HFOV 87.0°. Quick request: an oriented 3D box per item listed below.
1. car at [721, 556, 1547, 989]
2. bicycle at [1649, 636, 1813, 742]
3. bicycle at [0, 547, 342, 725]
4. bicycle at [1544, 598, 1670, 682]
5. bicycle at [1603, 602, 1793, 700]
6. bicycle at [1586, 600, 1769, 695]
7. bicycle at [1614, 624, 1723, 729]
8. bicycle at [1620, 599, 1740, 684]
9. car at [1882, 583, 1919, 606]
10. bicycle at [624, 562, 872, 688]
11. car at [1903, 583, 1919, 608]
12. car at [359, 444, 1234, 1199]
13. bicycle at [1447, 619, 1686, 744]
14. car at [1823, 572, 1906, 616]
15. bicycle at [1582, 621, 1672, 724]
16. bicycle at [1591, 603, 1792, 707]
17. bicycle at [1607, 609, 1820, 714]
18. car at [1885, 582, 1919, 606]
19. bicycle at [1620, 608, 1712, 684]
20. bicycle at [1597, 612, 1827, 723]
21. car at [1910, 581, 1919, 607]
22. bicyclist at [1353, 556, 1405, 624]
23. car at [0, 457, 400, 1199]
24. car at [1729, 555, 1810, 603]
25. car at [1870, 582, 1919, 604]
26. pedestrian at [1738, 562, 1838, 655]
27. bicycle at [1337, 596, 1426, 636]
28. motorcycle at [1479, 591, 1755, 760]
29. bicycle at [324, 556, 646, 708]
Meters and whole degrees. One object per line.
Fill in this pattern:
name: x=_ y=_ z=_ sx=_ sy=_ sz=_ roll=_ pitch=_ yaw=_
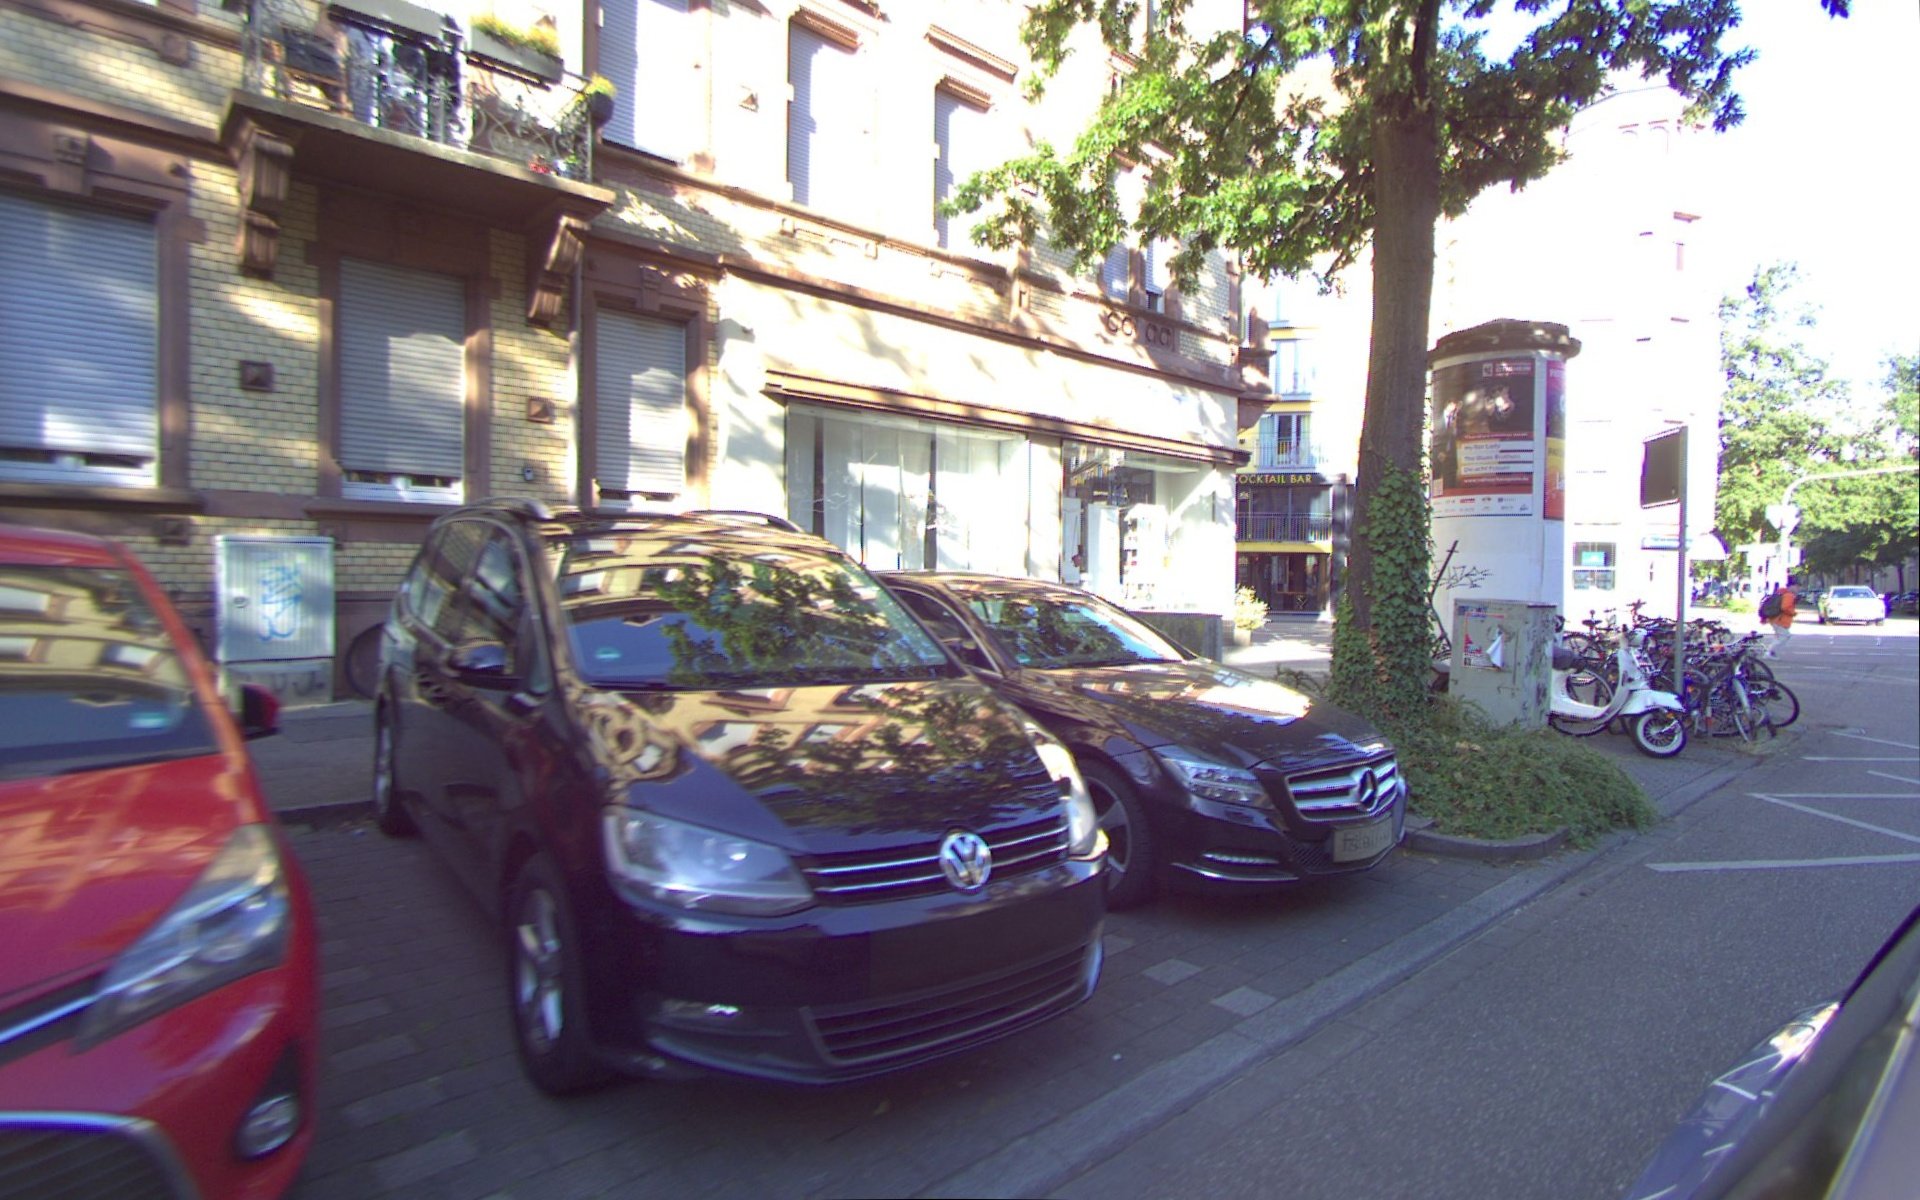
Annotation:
car: x=0.498 y=0.518 z=5.994 sx=1.818 sy=1.430 sz=4.798 roll=-1 pitch=4 yaw=-39
bicycle: x=7.278 y=0.839 z=9.558 sx=1.383 sy=0.938 sz=0.355 roll=1 pitch=3 yaw=-12
bicycle: x=-6.123 y=0.223 z=7.516 sx=2.546 sy=1.185 sz=0.672 roll=-1 pitch=4 yaw=-40
bicycle: x=9.181 y=0.560 z=14.377 sx=1.447 sy=1.106 sz=0.575 roll=1 pitch=3 yaw=-10
bicycle: x=9.372 y=0.636 z=12.902 sx=1.905 sy=1.106 sz=0.424 roll=3 pitch=3 yaw=9
bicycle: x=9.455 y=0.613 z=13.383 sx=1.905 sy=1.106 sz=0.424 roll=3 pitch=3 yaw=9
bicycle: x=7.190 y=0.749 z=10.252 sx=1.496 sy=0.938 sz=0.355 roll=0 pitch=4 yaw=-35
bicycle: x=9.956 y=0.574 z=14.004 sx=1.446 sy=1.106 sz=0.426 roll=1 pitch=3 yaw=-12
car: x=69.450 y=-0.378 z=72.782 sx=4.268 sy=1.604 sz=1.979 roll=1 pitch=2 yaw=30
bicycle: x=-2.188 y=0.216 z=10.752 sx=2.546 sy=1.185 sz=0.672 roll=-1 pitch=4 yaw=-40
car: x=64.606 y=-0.272 z=65.909 sx=4.265 sy=1.604 sz=1.981 roll=1 pitch=2 yaw=28
car: x=-1.311 y=0.408 z=4.423 sx=1.817 sy=1.699 sz=4.703 roll=0 pitch=3 yaw=-36
bicycle: x=5.840 y=0.745 z=9.861 sx=0.348 sy=0.938 sz=1.934 roll=-1 pitch=5 yaw=-42
car: x=38.183 y=-0.298 z=42.839 sx=1.986 sy=1.771 sz=3.953 roll=1 pitch=2 yaw=33
bicycle: x=7.021 y=0.733 z=10.633 sx=1.498 sy=0.938 sz=0.354 roll=-1 pitch=4 yaw=-41
bicycle: x=8.892 y=0.654 z=12.357 sx=1.906 sy=1.106 sz=0.424 roll=3 pitch=3 yaw=12
bicycle: x=8.797 y=0.701 z=11.880 sx=1.906 sy=1.064 sz=0.501 roll=3 pitch=3 yaw=12
car: x=65.488 y=-0.382 z=68.168 sx=4.265 sy=1.604 sz=1.981 roll=1 pitch=2 yaw=28
bicycle: x=10.329 y=0.653 z=14.847 sx=0.989 sy=1.039 sz=0.732 roll=1 pitch=1 yaw=26
bicycle: x=8.221 y=0.708 z=11.166 sx=1.918 sy=0.999 sz=0.492 roll=4 pitch=4 yaw=27
car: x=63.122 y=-0.342 z=63.825 sx=4.265 sy=1.604 sz=1.981 roll=1 pitch=2 yaw=28
bicyclist: x=9.800 y=-0.221 z=23.690 sx=1.067 sy=1.573 sz=0.630 roll=-1 pitch=-1 yaw=19
car: x=-3.022 y=0.512 z=2.874 sx=1.695 sy=1.553 sz=4.113 roll=-1 pitch=2 yaw=-41
car: x=58.325 y=-1.536 z=73.111 sx=3.298 sy=3.218 sz=7.998 roll=1 pitch=2 yaw=30
car: x=71.109 y=-0.516 z=75.577 sx=4.268 sy=1.604 sz=1.979 roll=1 pitch=2 yaw=30
pedestrian: x=15.823 y=0.142 z=19.375 sx=1.158 sy=1.701 sz=1.002 roll=1 pitch=1 yaw=19
bicycle: x=9.830 y=0.372 z=23.671 sx=1.854 sy=0.924 sz=0.630 roll=-1 pitch=-1 yaw=19
motorcycle: x=5.798 y=0.598 z=9.035 sx=0.674 sy=1.249 sz=1.902 roll=0 pitch=4 yaw=-41
bicycle: x=-4.204 y=0.233 z=9.145 sx=2.546 sy=1.185 sz=0.672 roll=-1 pitch=4 yaw=-40
